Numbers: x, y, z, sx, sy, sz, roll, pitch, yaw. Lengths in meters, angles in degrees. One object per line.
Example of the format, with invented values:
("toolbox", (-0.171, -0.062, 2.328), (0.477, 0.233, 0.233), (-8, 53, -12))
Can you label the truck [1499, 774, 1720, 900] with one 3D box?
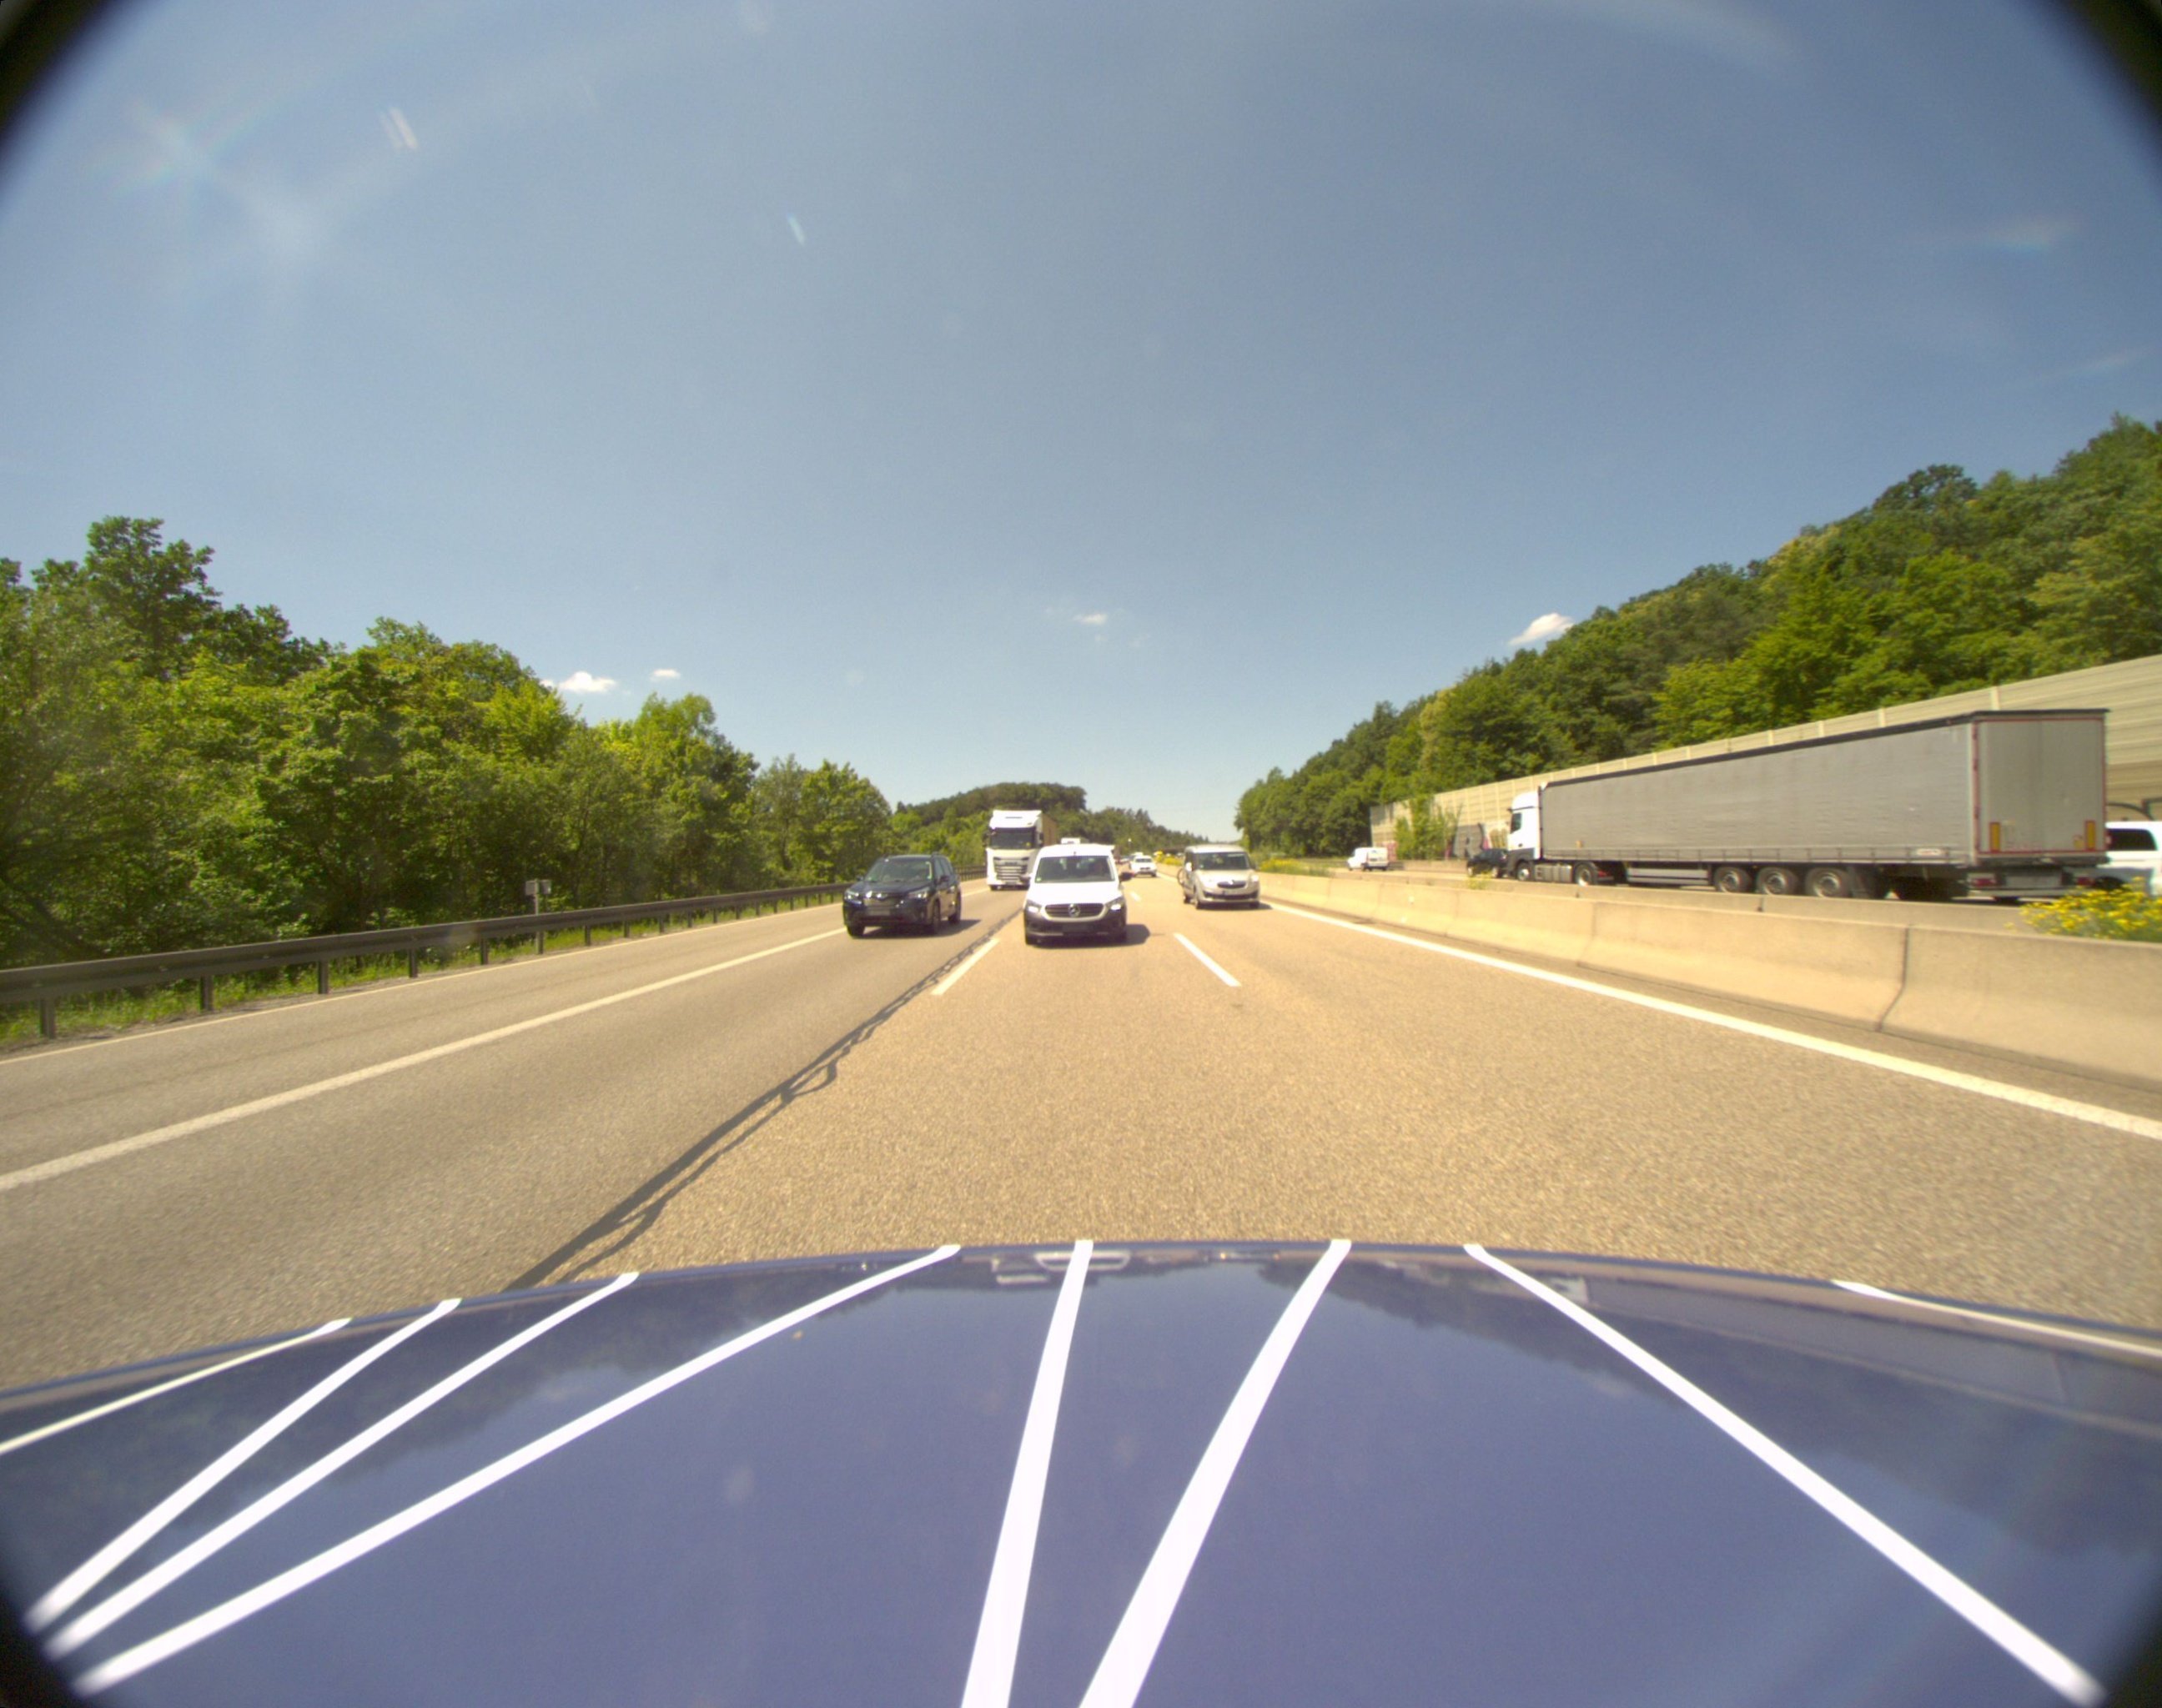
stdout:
("truck", (18.553, -0.572, 27.430), (2.820, 3.886, 7.314), (-1, 1, -1))

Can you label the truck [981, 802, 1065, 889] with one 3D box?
("truck", (-2.988, -0.418, 44.901), (2.789, 4.144, 16.270), (-2, 0, 3))

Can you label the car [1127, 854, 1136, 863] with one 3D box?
("car", (11.537, 0.946, 172.906), (1.998, 2.002, 4.001), (-1, 0, 2))

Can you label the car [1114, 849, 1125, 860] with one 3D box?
("car", (6.869, 0.108, 136.341), (1.902, 2.002, 4.000), (-1, 0, 1))

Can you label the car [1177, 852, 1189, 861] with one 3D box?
("car", (18.535, 0.428, 138.400), (1.751, 1.568, 4.715), (-1, 0, 3))

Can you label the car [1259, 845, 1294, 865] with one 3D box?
("car", (16.734, 0.089, 65.203), (1.814, 1.566, 4.603), (-2, 0, 1))

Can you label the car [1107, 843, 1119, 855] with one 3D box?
("car", (7.620, -1.197, 179.475), (2.721, 2.534, 5.941), (-1, 1, 3))

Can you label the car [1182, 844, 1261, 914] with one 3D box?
("car", (4.008, 0.666, 22.255), (1.780, 1.833, 4.001), (-1, 0, 3))

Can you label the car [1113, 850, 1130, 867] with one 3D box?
("car", (5.089, 0.548, 95.524), (1.998, 2.002, 4.000), (-1, 0, 1))

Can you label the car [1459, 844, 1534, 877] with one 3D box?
("car", (22.178, 0.327, 40.720), (1.814, 1.631, 4.098), (-2, 0, 1))

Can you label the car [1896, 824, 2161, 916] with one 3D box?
("car", (22.143, 0.280, 17.256), (1.814, 1.800, 5.107), (-2, 0, 1))

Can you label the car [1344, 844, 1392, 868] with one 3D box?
("car", (23.400, 0.158, 62.179), (1.926, 1.856, 5.303), (-1, 1, 1))

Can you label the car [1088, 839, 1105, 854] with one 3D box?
("car", (2.741, -1.275, 131.780), (2.721, 2.534, 5.941), (-1, 1, 3))

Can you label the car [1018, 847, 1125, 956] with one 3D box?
("car", (-0.038, 0.775, 14.758), (1.729, 1.760, 4.313), (-1, 1, 3))

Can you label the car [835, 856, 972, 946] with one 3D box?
("car", (-3.776, 0.934, 16.968), (1.816, 1.658, 4.204), (-1, 1, 3))

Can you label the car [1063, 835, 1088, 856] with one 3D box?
("car", (-0.647, -1.045, 94.778), (2.721, 2.534, 5.941), (-1, 1, 3))

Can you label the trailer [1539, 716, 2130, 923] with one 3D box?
("trailer", (18.497, -0.724, 21.365), (2.820, 3.885, 13.824), (-1, 1, 0))

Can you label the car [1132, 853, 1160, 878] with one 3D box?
("car", (5.101, 0.881, 60.060), (1.998, 1.827, 4.001), (-1, 0, 3))
